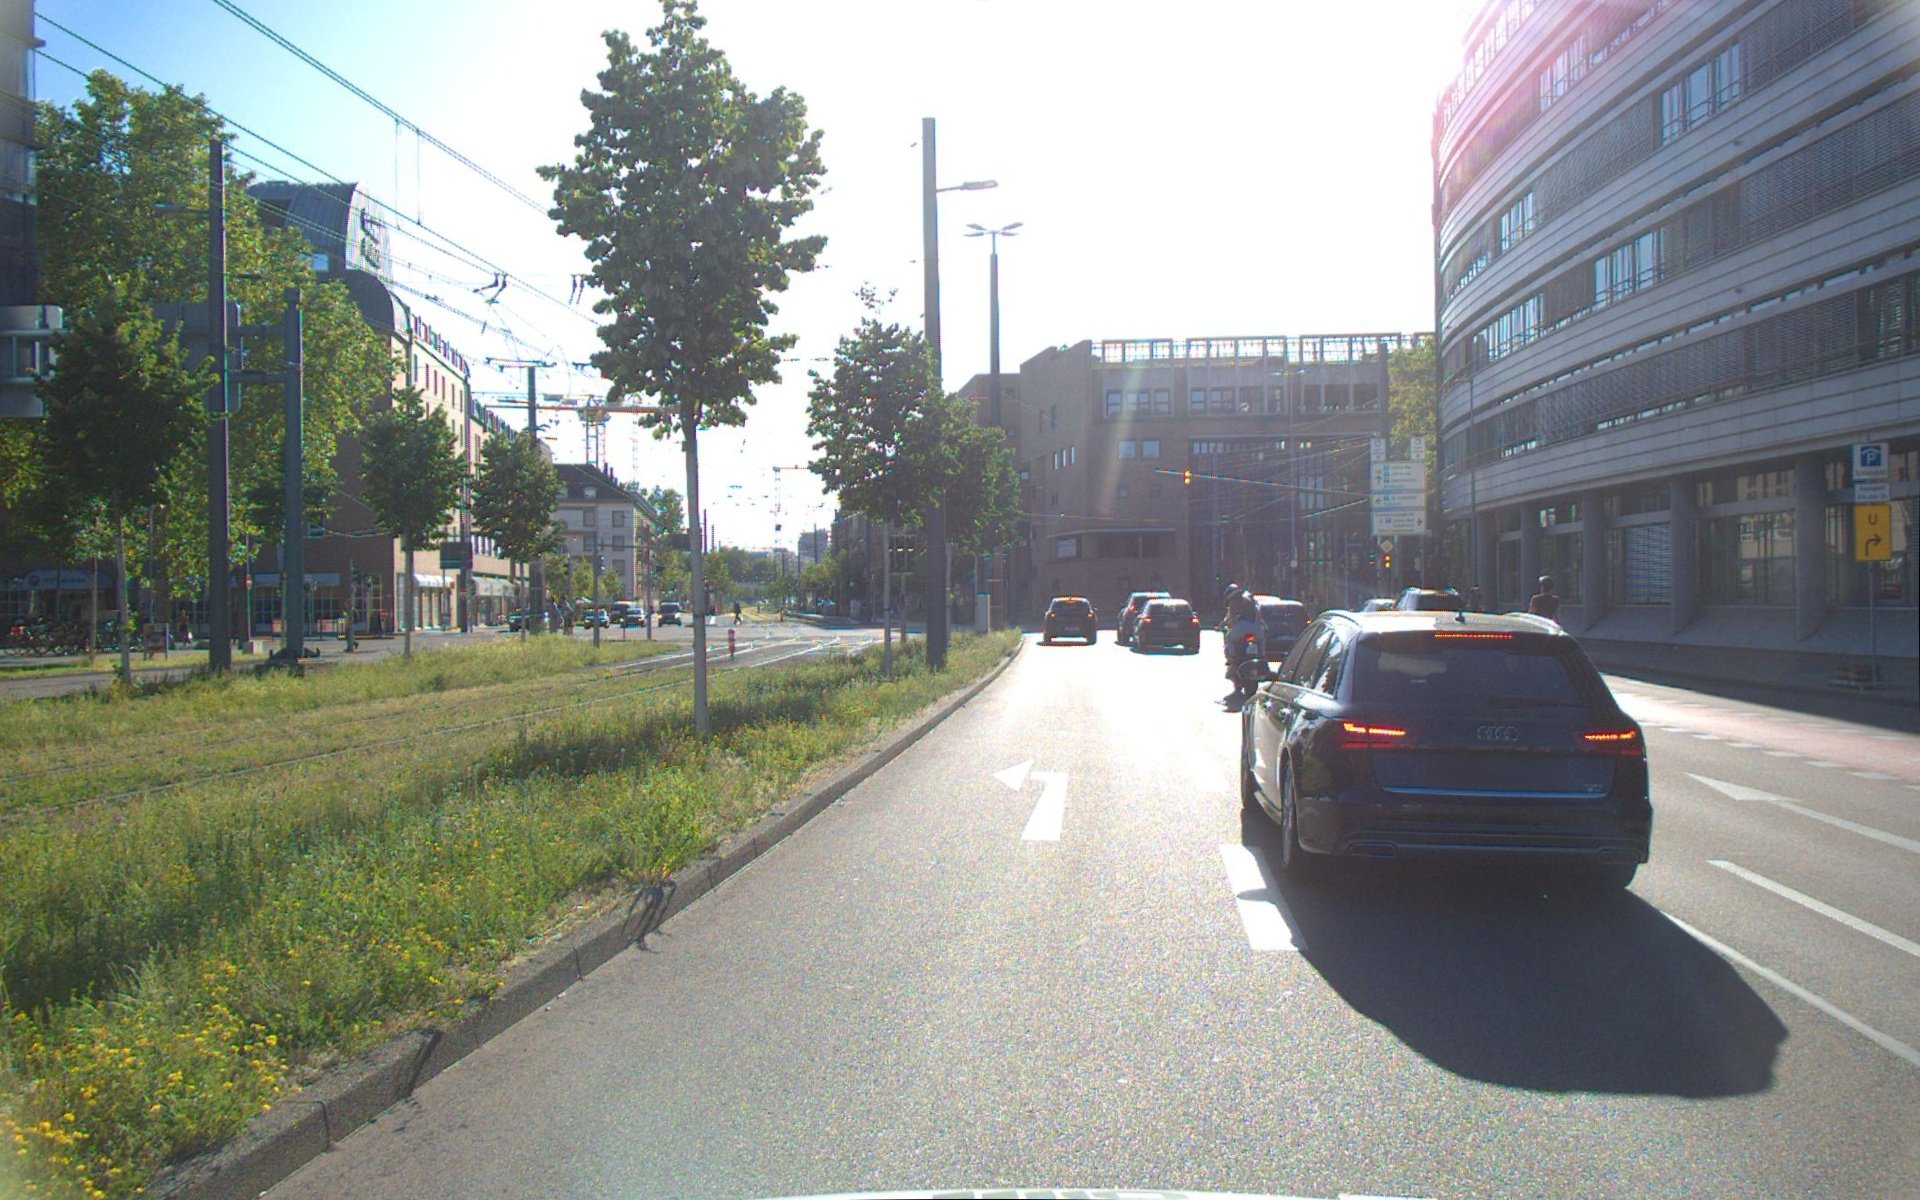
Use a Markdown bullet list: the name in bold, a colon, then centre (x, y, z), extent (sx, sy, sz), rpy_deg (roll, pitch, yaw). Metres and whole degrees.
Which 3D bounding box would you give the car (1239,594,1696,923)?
- **car**: centre (2.770, 0.736, 10.070), extent (1.773, 1.518, 4.499), rpy_deg (1, 0, 5)

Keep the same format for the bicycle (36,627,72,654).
- **bicycle**: centre (-32.940, 1.477, 60.133), extent (1.738, 0.968, 0.538), rpy_deg (-1, 0, 40)

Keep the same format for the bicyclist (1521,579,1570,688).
- **bicyclist**: centre (9.968, 0.560, 28.172), extent (0.565, 1.822, 0.864), rpy_deg (-1, 0, 5)

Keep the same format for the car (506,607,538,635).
- **car**: centre (-33.335, 1.595, 126.053), extent (1.957, 2.049, 3.991), rpy_deg (-1, 0, -10)

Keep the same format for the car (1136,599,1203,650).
- **car**: centre (6.019, 0.674, 47.819), extent (1.700, 1.373, 4.002), rpy_deg (-1, 0, 4)

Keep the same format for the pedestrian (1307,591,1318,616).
- **pedestrian**: centre (20.559, 0.211, 96.542), extent (0.518, 1.455, 0.598), rpy_deg (-1, 0, 3)

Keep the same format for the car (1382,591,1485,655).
- **car**: centre (13.814, 0.637, 48.461), extent (1.952, 1.780, 4.330), rpy_deg (-1, 0, 3)

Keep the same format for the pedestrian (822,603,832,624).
- **pedestrian**: centre (-10.767, 1.082, 134.278), extent (0.728, 1.669, 0.766), rpy_deg (-1, 0, -10)

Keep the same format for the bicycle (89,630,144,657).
- **bicycle**: centre (-31.032, 1.596, 60.848), extent (1.742, 0.968, 0.537), rpy_deg (-1, 0, -24)

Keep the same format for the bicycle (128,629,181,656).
- **bicycle**: centre (-30.576, 1.603, 62.773), extent (1.730, 0.968, 0.541), rpy_deg (-1, 0, -4)

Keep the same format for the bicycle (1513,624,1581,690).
- **bicycle**: centre (9.992, 0.950, 28.216), extent (0.481, 1.015, 2.329), rpy_deg (-1, 0, 5)

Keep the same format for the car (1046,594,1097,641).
- **car**: centre (3.670, 0.563, 54.158), extent (1.614, 1.458, 4.002), rpy_deg (-1, 0, 4)

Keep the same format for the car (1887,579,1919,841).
- **car**: centre (6.615, 0.690, 8.607), extent (1.652, 1.657, 4.466), rpy_deg (-1, 0, 9)

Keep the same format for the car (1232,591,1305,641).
- **car**: centre (9.453, 0.472, 50.940), extent (1.769, 1.483, 4.002), rpy_deg (0, 0, 4)

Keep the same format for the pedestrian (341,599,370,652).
- **pedestrian**: centre (-23.417, 0.976, 64.110), extent (0.717, 2.049, 0.838), rpy_deg (0, 0, 8)

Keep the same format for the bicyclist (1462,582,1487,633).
- **bicyclist**: centre (16.801, 0.245, 54.013), extent (0.669, 1.646, 0.992), rpy_deg (-1, 0, 13)

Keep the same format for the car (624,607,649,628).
- **car**: centre (-25.184, 1.362, 128.622), extent (1.715, 1.531, 3.867), rpy_deg (-1, 0, -13)

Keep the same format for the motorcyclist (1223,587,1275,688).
- **motorcyclist**: centre (4.574, 0.585, 26.219), extent (0.729, 1.557, 1.021), rpy_deg (-1, 0, 7)

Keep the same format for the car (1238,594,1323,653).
- **car**: centre (8.527, 0.590, 44.303), extent (1.769, 1.483, 4.002), rpy_deg (0, 0, 4)

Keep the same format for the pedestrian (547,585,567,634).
- **pedestrian**: centre (-15.256, 0.352, 62.629), extent (0.619, 1.862, 0.662), rpy_deg (-1, 0, -3)

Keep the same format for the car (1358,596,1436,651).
- **car**: centre (14.222, 0.735, 53.998), extent (1.951, 1.680, 4.003), rpy_deg (-1, 0, 8)

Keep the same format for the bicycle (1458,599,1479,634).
- **bicycle**: centre (16.569, 0.533, 53.909), extent (0.493, 1.076, 1.703), rpy_deg (-3, -1, 14)

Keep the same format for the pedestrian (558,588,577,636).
- **pedestrian**: centre (-15.078, 0.452, 63.577), extent (0.551, 1.849, 0.662), rpy_deg (-1, 0, -3)

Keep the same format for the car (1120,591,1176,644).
- **car**: centre (6.197, 0.546, 54.889), extent (1.700, 1.680, 4.002), rpy_deg (-1, 0, 4)

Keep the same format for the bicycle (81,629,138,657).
- **bicycle**: centre (-30.780, 1.553, 59.898), extent (1.734, 0.968, 0.540), rpy_deg (-1, 0, -12)

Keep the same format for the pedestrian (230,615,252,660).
- **pedestrian**: centre (-33.142, 1.737, 76.273), extent (0.652, 2.049, 0.678), rpy_deg (-1, 0, 4)

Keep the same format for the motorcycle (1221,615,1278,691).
- **motorcycle**: centre (4.599, 0.824, 26.348), extent (0.759, 1.135, 1.970), rpy_deg (-1, 0, 6)

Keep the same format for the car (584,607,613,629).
- **car**: centre (-28.068, 1.373, 128.609), extent (1.957, 1.624, 4.728), rpy_deg (-2, 0, -10)

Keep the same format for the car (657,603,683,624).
- **car**: centre (-22.406, 1.031, 127.556), extent (1.715, 1.531, 3.867), rpy_deg (-1, 0, -13)

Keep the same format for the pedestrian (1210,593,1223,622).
- **pedestrian**: centre (16.427, 0.474, 105.888), extent (0.693, 1.789, 0.560), rpy_deg (-1, 0, 29)
